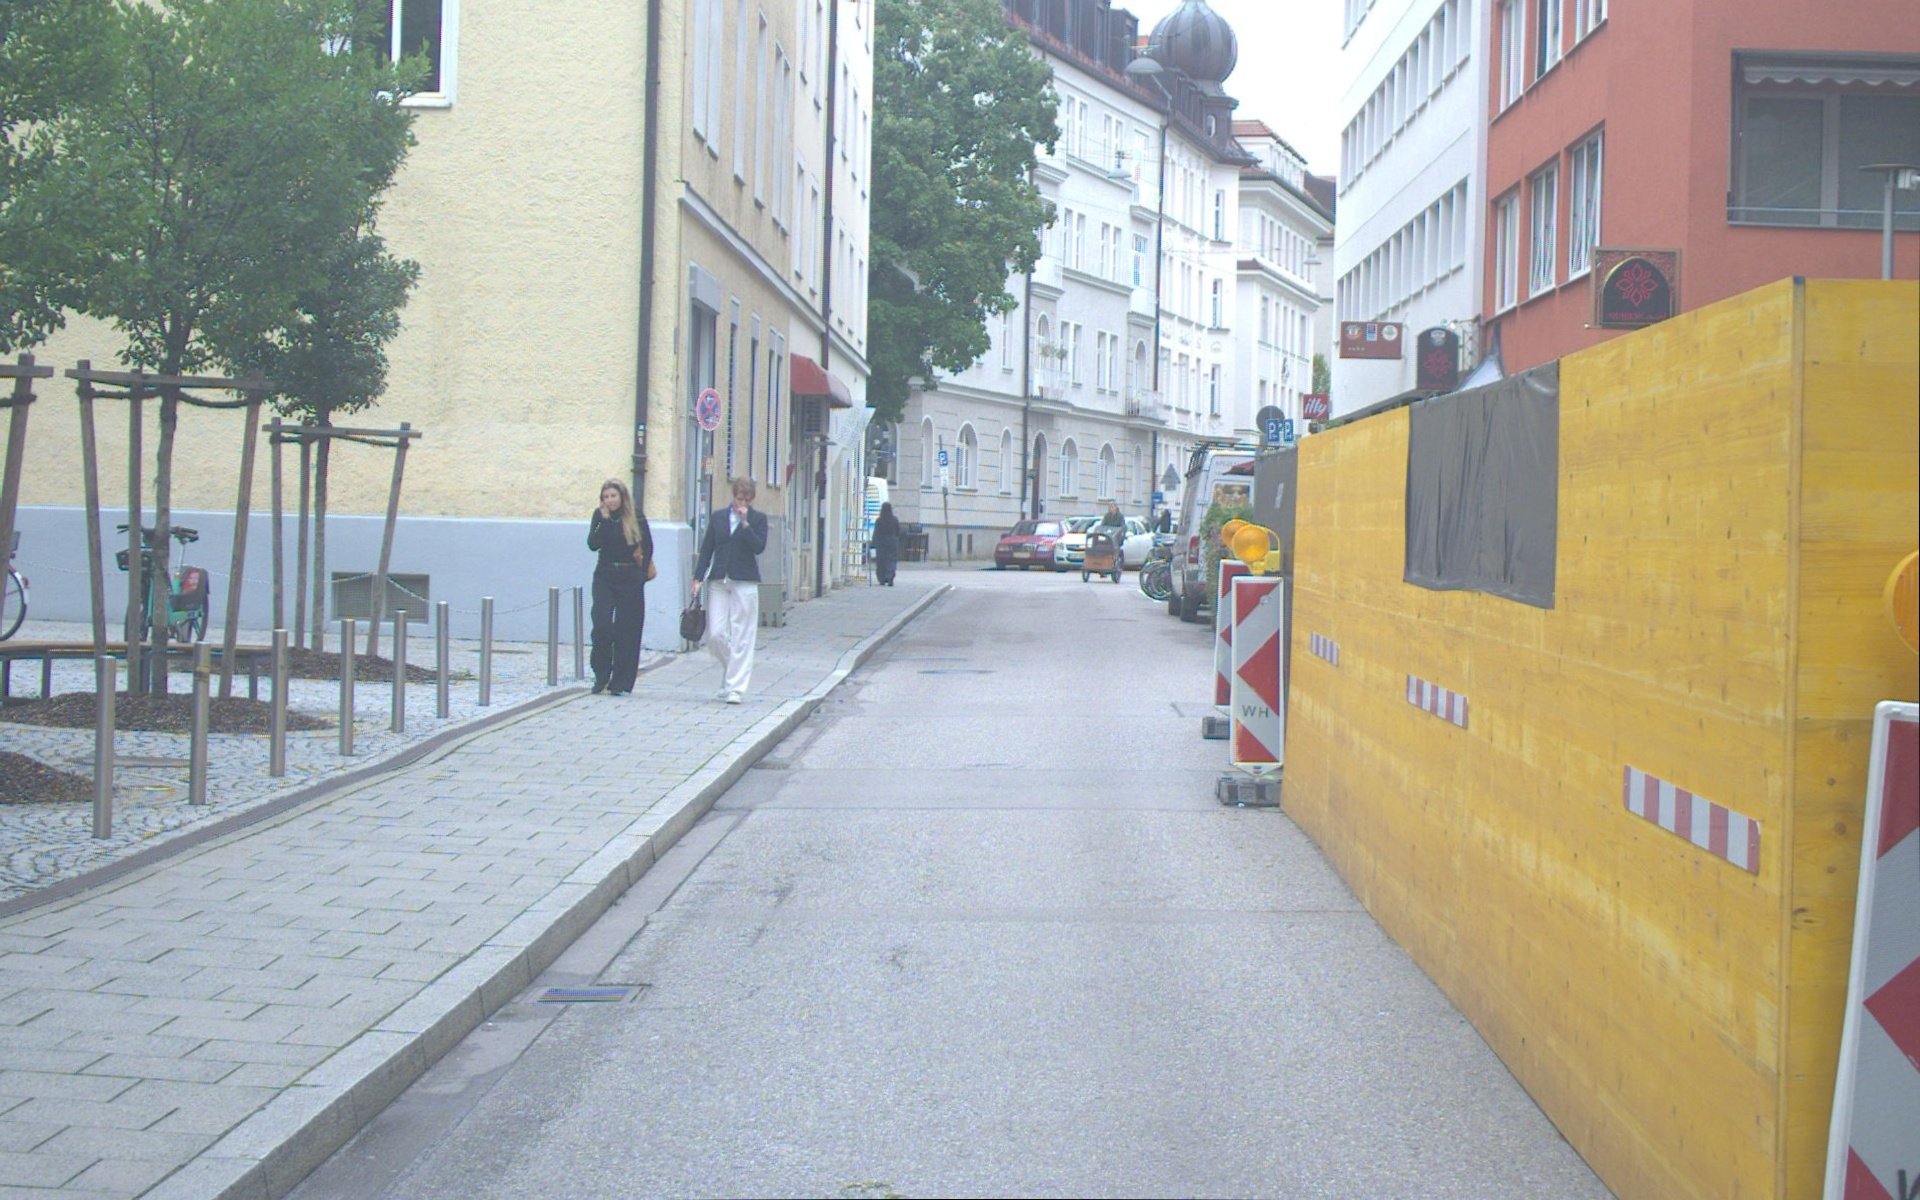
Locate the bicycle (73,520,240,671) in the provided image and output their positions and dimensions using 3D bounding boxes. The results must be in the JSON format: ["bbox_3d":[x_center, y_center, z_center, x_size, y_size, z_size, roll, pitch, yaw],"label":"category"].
[{"bbox_3d":[-6.393,-0.051,27.439,0.510,1.140,2.051,3,1,9],"label":"bicycle"}]

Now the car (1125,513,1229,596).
[{"bbox_3d":[4.419,-0.953,70.547,1.811,1.557,4.275,3,1,0],"label":"car"}]

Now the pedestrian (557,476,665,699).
[{"bbox_3d":[-2.660,-0.101,26.242,0.670,1.642,0.761,3,1,0],"label":"pedestrian"}]

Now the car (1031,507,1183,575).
[{"bbox_3d":[3.813,-1.509,88.485,1.695,1.568,3.990,4,2,42],"label":"car"}]

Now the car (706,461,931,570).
[{"bbox_3d":[-3.415,-2.042,83.192,4.976,2.390,2.001,2,2,-27],"label":"car"}]

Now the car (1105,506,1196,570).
[{"bbox_3d":[5.941,-1.916,106.750,2.022,1.897,4.288,1,1,14],"label":"car"}]

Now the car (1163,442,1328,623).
[{"bbox_3d":[4.273,-1.039,52.168,1.993,2.528,4.975,3,1,0],"label":"car"}]

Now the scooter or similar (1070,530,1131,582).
[{"bbox_3d":[3.194,-0.996,77.940,1.068,1.123,1.159,3,1,17],"label":"scooter or similar"}]

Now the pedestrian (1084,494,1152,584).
[{"bbox_3d":[3.649,-1.409,79.346,1.134,2.007,1.408,3,1,17],"label":"pedestrian"}]

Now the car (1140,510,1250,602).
[{"bbox_3d":[4.469,-0.869,65.886,1.788,1.620,4.273,3,1,0],"label":"car"}]

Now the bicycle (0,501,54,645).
[{"bbox_3d":[-8.855,-0.274,29.396,2.044,1.193,0.570,3,1,8],"label":"bicycle"}]

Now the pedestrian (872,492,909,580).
[{"bbox_3d":[-1.340,-1.242,66.380,0.634,1.669,0.517,3,1,1],"label":"pedestrian"}]

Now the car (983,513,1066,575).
[{"bbox_3d":[1.754,-1.510,92.260,1.692,1.568,3.999,3,1,8],"label":"car"}]

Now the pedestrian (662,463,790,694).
[{"bbox_3d":[-1.778,-0.169,26.264,0.839,1.694,0.803,3,1,1],"label":"pedestrian"}]
